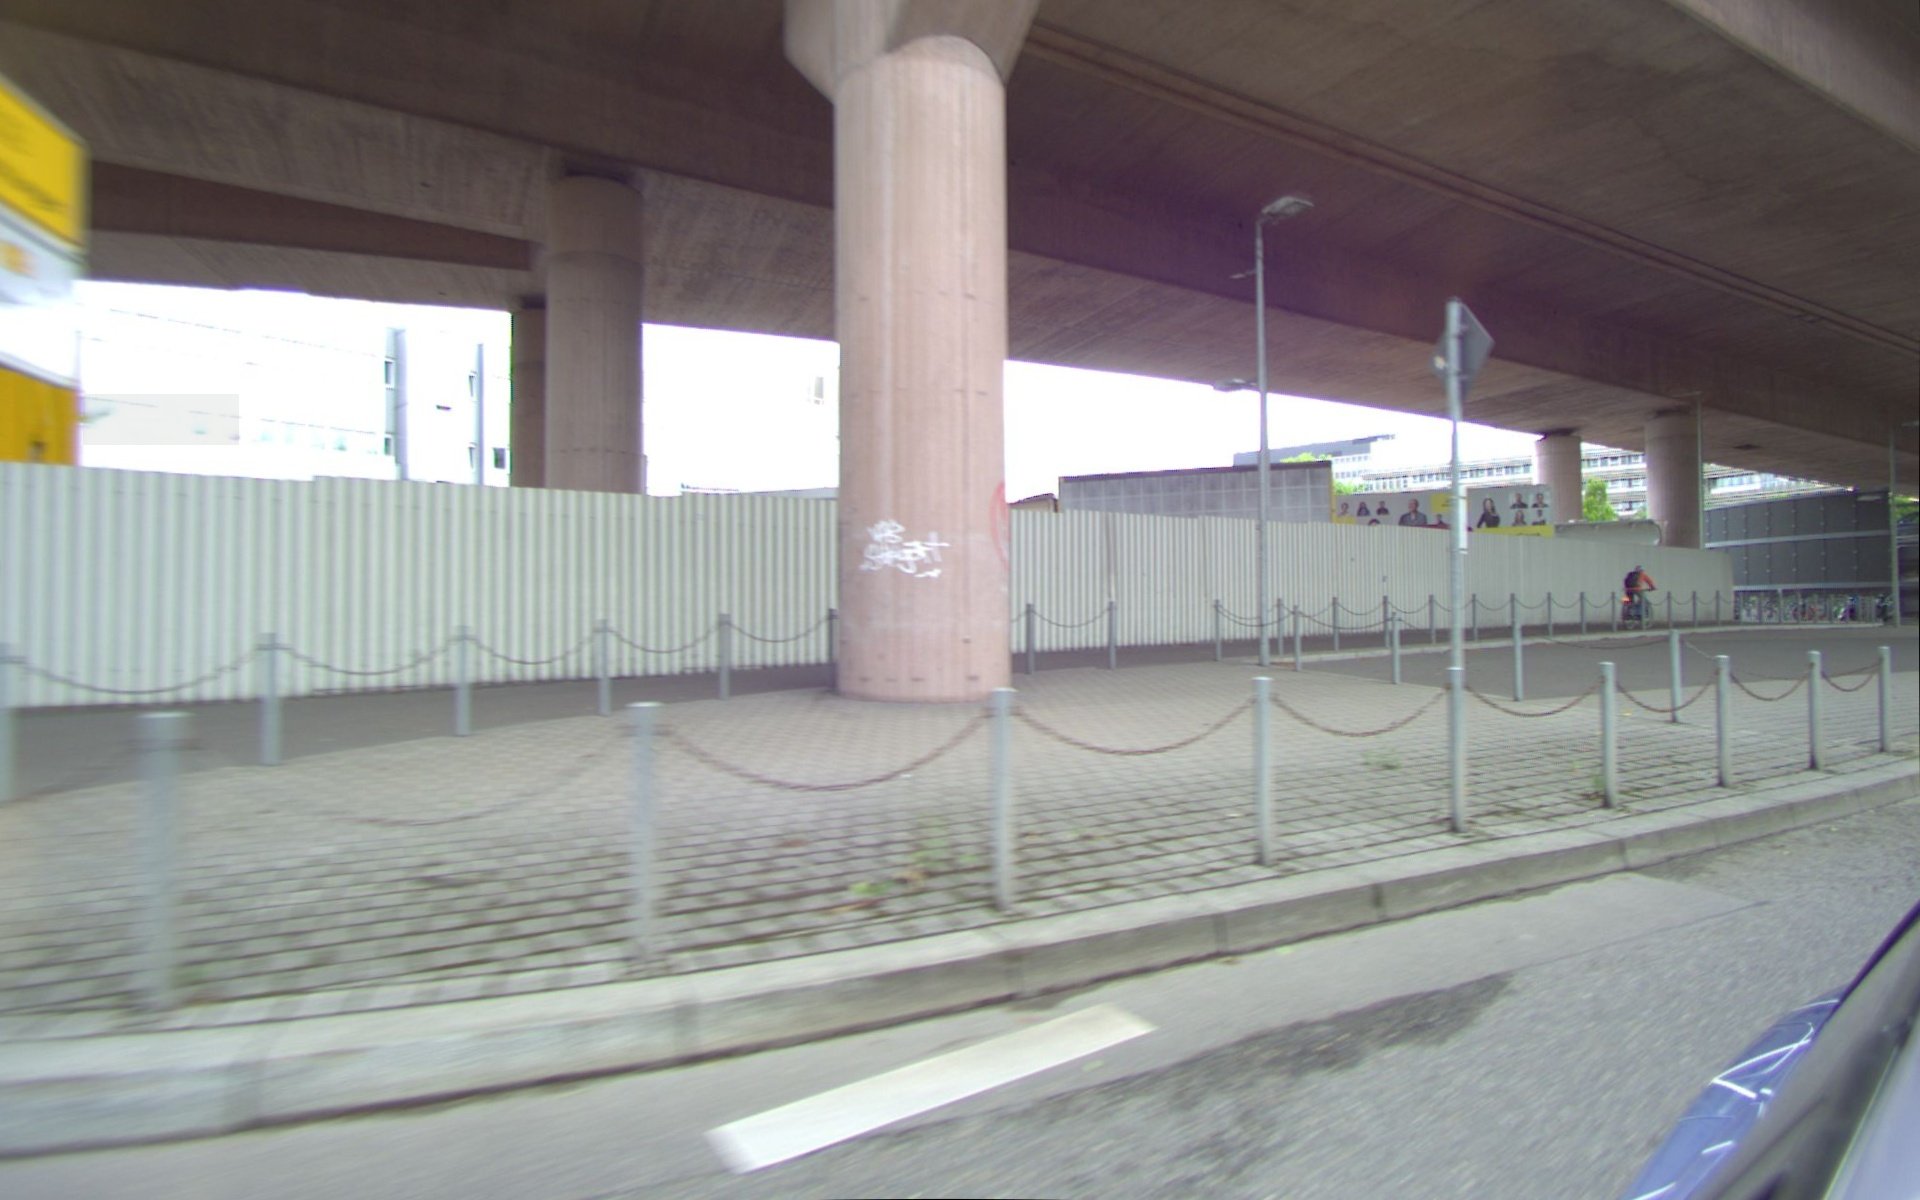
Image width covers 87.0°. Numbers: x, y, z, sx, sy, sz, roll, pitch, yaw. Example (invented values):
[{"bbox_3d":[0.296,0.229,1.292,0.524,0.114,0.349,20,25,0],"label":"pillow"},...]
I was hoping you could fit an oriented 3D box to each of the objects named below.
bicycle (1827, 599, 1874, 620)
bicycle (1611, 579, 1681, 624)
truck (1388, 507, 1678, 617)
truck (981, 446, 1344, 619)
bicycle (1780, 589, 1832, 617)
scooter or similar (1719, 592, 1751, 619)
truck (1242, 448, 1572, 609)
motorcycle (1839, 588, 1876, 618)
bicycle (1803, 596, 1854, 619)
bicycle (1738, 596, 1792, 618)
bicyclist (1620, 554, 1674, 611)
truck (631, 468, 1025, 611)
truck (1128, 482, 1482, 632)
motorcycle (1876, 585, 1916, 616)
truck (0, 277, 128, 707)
[{"bbox_3d":[46.125,0.483,52.433,0.429,1.093,1.786,2,-2,-39],"label":"bicycle"},{"bbox_3d":[17.541,0.030,25.854,2.091,1.111,0.804,0,1,-35],"label":"bicycle"},{"bbox_3d":[23.809,-1.580,42.751,10.141,4.357,3.001,0,1,13],"label":"truck"},{"bbox_3d":[5.585,-1.827,28.859,9.573,4.499,3.137,0,1,12],"label":"truck"},{"bbox_3d":[37.330,0.134,44.692,0.610,1.120,2.322,3,-2,9],"label":"bicycle"},{"bbox_3d":[37.261,0.274,48.657,0.536,1.234,1.673,3,-2,12],"label":"scooter or similar"},{"bbox_3d":[14.565,-2.270,33.911,9.573,4.986,3.137,0,0,12],"label":"truck"},{"bbox_3d":[37.711,0.124,42.512,2.283,1.120,0.574,5,-3,-32],"label":"motorcycle"},{"bbox_3d":[39.861,0.350,46.472,0.428,0.995,1.736,2,-1,-31],"label":"bicycle"},{"bbox_3d":[38.696,0.355,48.667,0.387,1.037,2.066,1,-1,-24],"label":"bicycle"},{"bbox_3d":[17.549,-0.442,25.850,1.046,1.423,0.798,0,1,-35],"label":"bicyclist"},{"bbox_3d":[-2.992,-1.453,23.590,8.589,2.979,3.136,2,3,14],"label":"truck"},{"bbox_3d":[10.299,-1.283,31.282,9.913,4.236,2.887,0,1,13],"label":"truck"},{"bbox_3d":[38.241,0.019,41.343,2.282,1.120,0.545,4,-3,-29],"label":"motorcycle"},{"bbox_3d":[-15.329,-1.222,12.612,8.585,4.980,3.135,-1,-1,13],"label":"truck"}]
